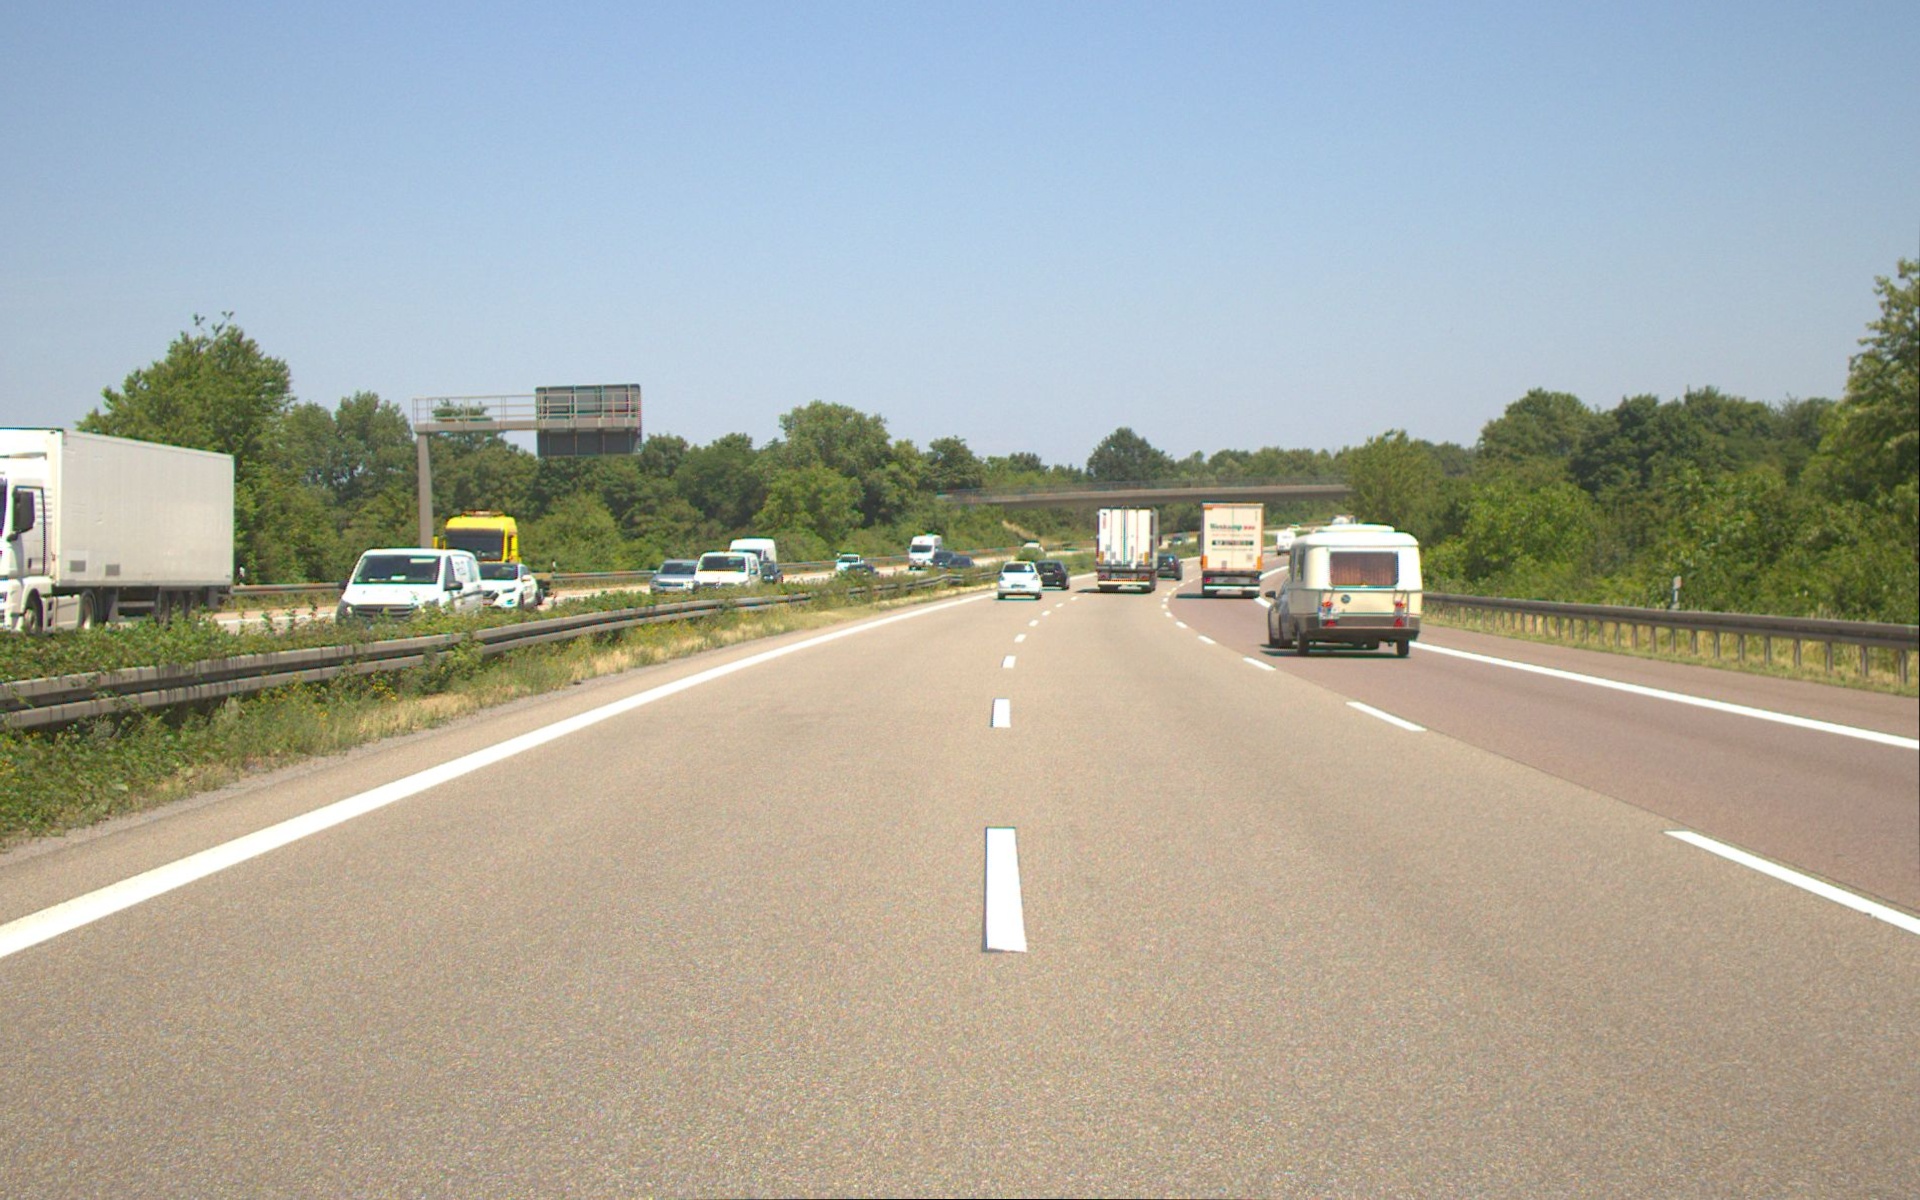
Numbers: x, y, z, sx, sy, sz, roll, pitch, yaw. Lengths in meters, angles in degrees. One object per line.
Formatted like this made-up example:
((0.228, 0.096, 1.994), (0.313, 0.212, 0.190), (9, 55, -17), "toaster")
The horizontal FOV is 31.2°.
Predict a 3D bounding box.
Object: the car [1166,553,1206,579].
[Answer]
((14.030, -2.092, 213.415), (1.829, 1.541, 4.317), (1, 1, 12), "car")

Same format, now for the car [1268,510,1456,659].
((6.718, -0.318, 58.090), (2.442, 2.313, 5.322), (-1, 2, -1), "car")

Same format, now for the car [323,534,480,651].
((-10.045, -0.175, 62.193), (1.993, 1.933, 5.338), (0, 2, 0), "car")

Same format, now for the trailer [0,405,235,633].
((-17.860, -1.596, 70.827), (2.835, 4.243, 13.637), (0, 1, 0), "trailer")

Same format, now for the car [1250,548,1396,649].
((6.698, -0.067, 63.959), (2.045, 1.652, 5.511), (-1, 2, -1), "car")

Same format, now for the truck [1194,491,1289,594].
((12.571, -2.683, 152.326), (3.182, 4.289, 16.013), (1, 2, 8), "truck")

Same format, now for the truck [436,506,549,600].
((-16.150, -1.623, 119.412), (2.521, 3.141, 9.668), (0, 1, 0), "truck")

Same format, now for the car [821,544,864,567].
((-7.677, -2.903, 224.236), (1.994, 1.453, 4.086), (0, 1, 10), "car")

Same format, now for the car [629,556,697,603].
((-10.997, -0.774, 127.621), (1.993, 1.730, 4.814), (0, 1, 1), "car")

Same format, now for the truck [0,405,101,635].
((-17.931, -1.444, 63.411), (2.830, 4.067, 5.166), (0, 0, 1), "truck")

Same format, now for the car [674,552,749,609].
((-8.321, -0.673, 115.491), (1.993, 1.875, 5.722), (0, 1, 1), "car")

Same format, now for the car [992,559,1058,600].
((2.631, -0.851, 137.641), (1.829, 1.541, 4.317), (1, 1, 12), "car")

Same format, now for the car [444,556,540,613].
((-12.962, -0.448, 95.473), (1.993, 1.543, 4.727), (0, 1, 1), "car")

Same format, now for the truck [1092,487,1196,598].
((8.938, -2.885, 165.066), (3.667, 5.001, 16.013), (1, 2, 8), "truck")
